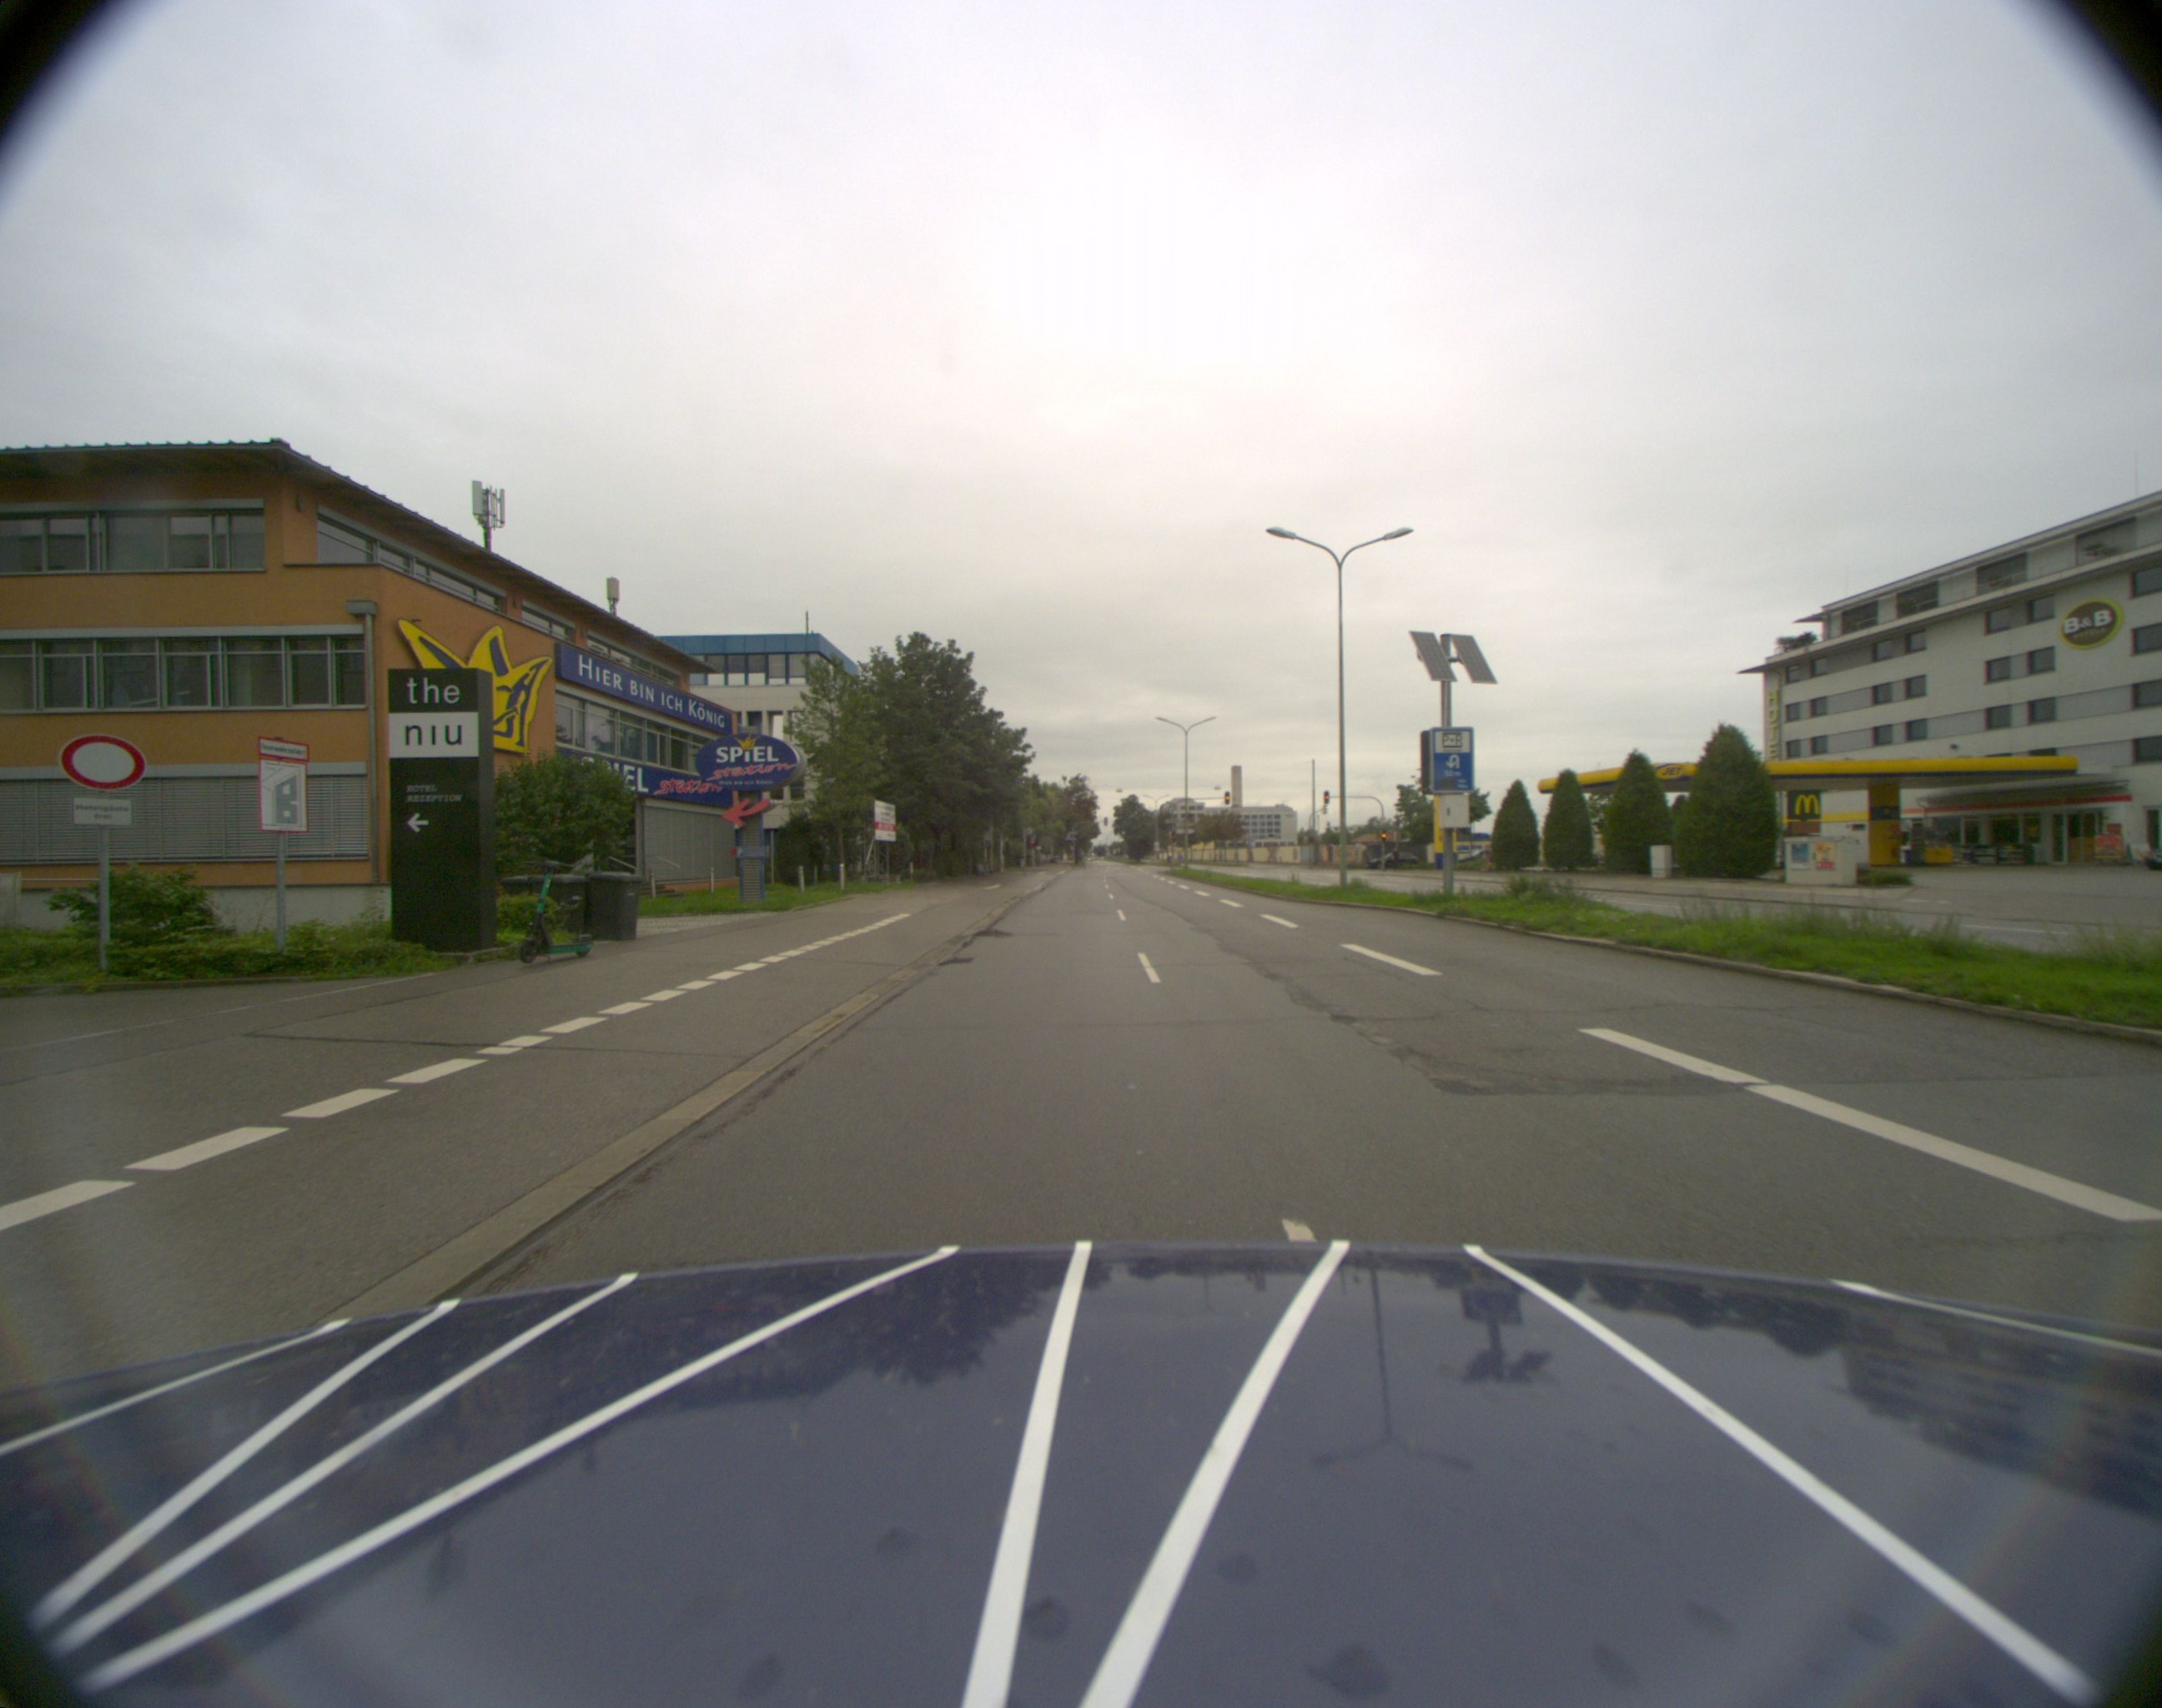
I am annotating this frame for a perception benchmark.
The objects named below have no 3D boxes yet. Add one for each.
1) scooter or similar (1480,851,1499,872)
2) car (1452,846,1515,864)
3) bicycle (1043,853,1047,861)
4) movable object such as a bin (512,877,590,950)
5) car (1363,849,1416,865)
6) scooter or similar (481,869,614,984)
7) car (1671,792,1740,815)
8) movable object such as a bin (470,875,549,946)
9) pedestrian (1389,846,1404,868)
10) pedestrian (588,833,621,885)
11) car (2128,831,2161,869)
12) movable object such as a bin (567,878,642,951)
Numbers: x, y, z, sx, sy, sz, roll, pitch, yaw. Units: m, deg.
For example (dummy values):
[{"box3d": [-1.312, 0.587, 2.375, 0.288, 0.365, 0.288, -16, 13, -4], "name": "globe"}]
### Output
[{"box3d": [24.378, 0.442, 45.341, 0.356, 1.235, 1.546, -3, 0, 5], "name": "scooter or similar"}, {"box3d": [36.621, 0.060, 69.240, 4.628, 1.523, 2.000, -1, 0, 3], "name": "car"}, {"box3d": [-5.704, 0.516, 120.126, 0.583, 1.288, 2.454, 0, 0, -2], "name": "bicycle"}, {"box3d": [-8.123, 0.900, 11.675, 0.739, 1.072, 0.655, 0, 1, 1], "name": "movable object such as a bin"}, {"box3d": [29.148, 0.291, 71.861, 4.260, 1.419, 2.000, -1, 0, 3], "name": "car"}, {"box3d": [-6.593, 0.853, 9.482, 0.587, 1.270, 1.404, 4, 0, 1], "name": "scooter or similar"}, {"box3d": [48.246, -3.885, 58.844, 1.907, 1.469, 4.193, 0, 0, 0], "name": "car"}, {"box3d": [-8.940, 0.871, 11.916, 0.739, 1.072, 0.655, 0, 1, 1], "name": "movable object such as a bin"}, {"box3d": [23.597, 0.205, 56.861, 0.804, 1.605, 0.687, -3, 1, 0], "name": "pedestrian"}, {"box3d": [-15.795, 0.149, 25.194, 0.662, 1.702, 0.660, 0, 1, 1], "name": "pedestrian"}, {"box3d": [46.867, -0.176, 31.747, 3.997, 1.578, 1.706, -1, 0, -1], "name": "car"}, {"box3d": [-7.304, 0.918, 11.679, 0.739, 1.072, 0.655, 0, 1, 1], "name": "movable object such as a bin"}]
